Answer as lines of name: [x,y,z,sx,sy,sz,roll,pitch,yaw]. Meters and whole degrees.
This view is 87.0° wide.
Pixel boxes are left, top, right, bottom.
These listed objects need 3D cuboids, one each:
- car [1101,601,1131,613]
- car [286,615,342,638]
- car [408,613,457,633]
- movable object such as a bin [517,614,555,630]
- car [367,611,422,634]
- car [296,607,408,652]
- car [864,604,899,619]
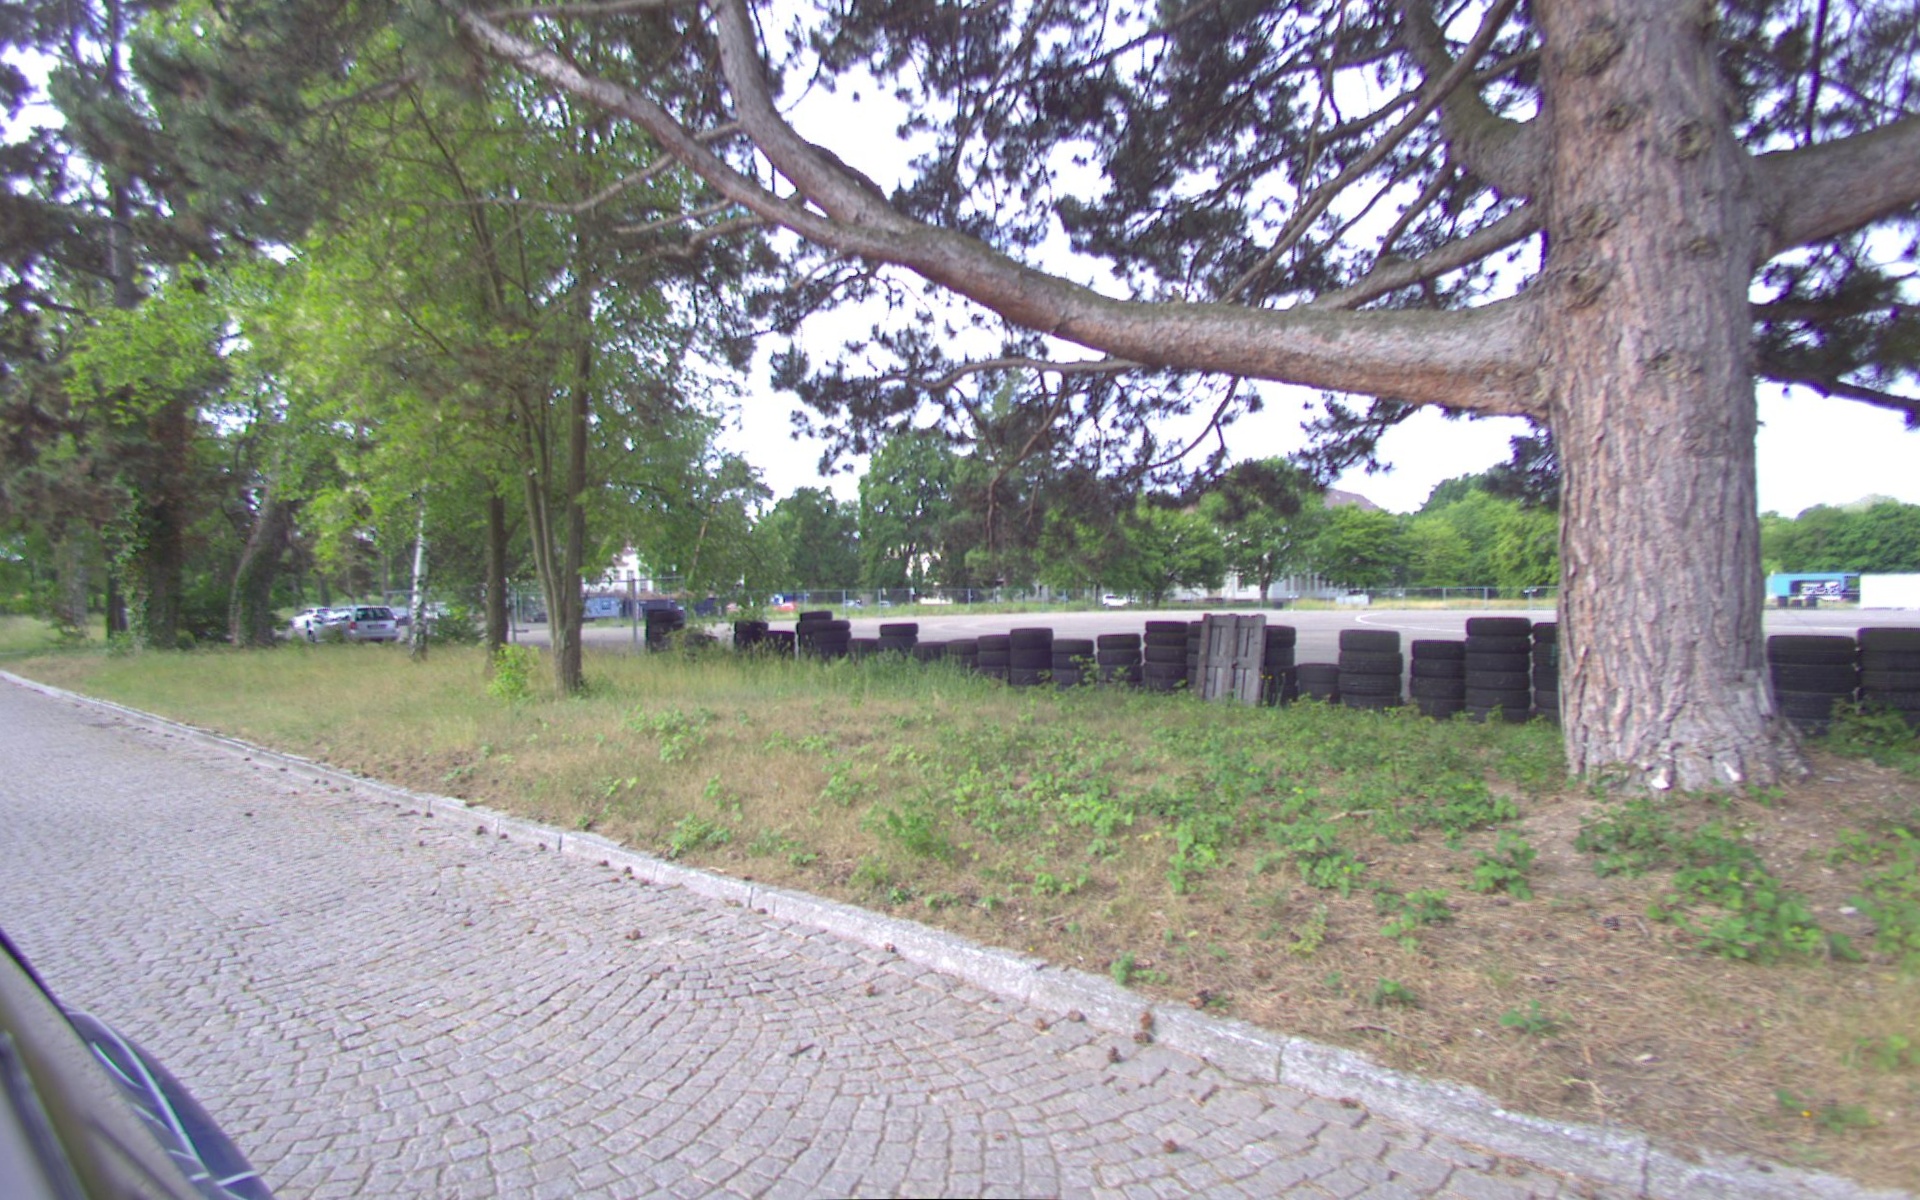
car: [24.265,1.039,157.261,4.289,1.735,1.805,-1,2,42]
car: [-42.512,1.724,66.588,4.314,1.436,1.807,-1,0,38]
car: [-38.173,1.658,73.214,4.032,1.410,1.617,-1,0,38]
movable object such as a bin: [-27.478,1.415,65.577,1.952,0.976,1.431,-1,0,33]
car: [-39.585,1.581,70.787,4.396,1.486,1.807,-1,0,38]
car: [-20.722,1.022,34.428,4.416,1.427,1.807,-1,-3,39]
car: [-9.552,1.367,122.995,1.802,1.735,4.588,-1,0,-41]
